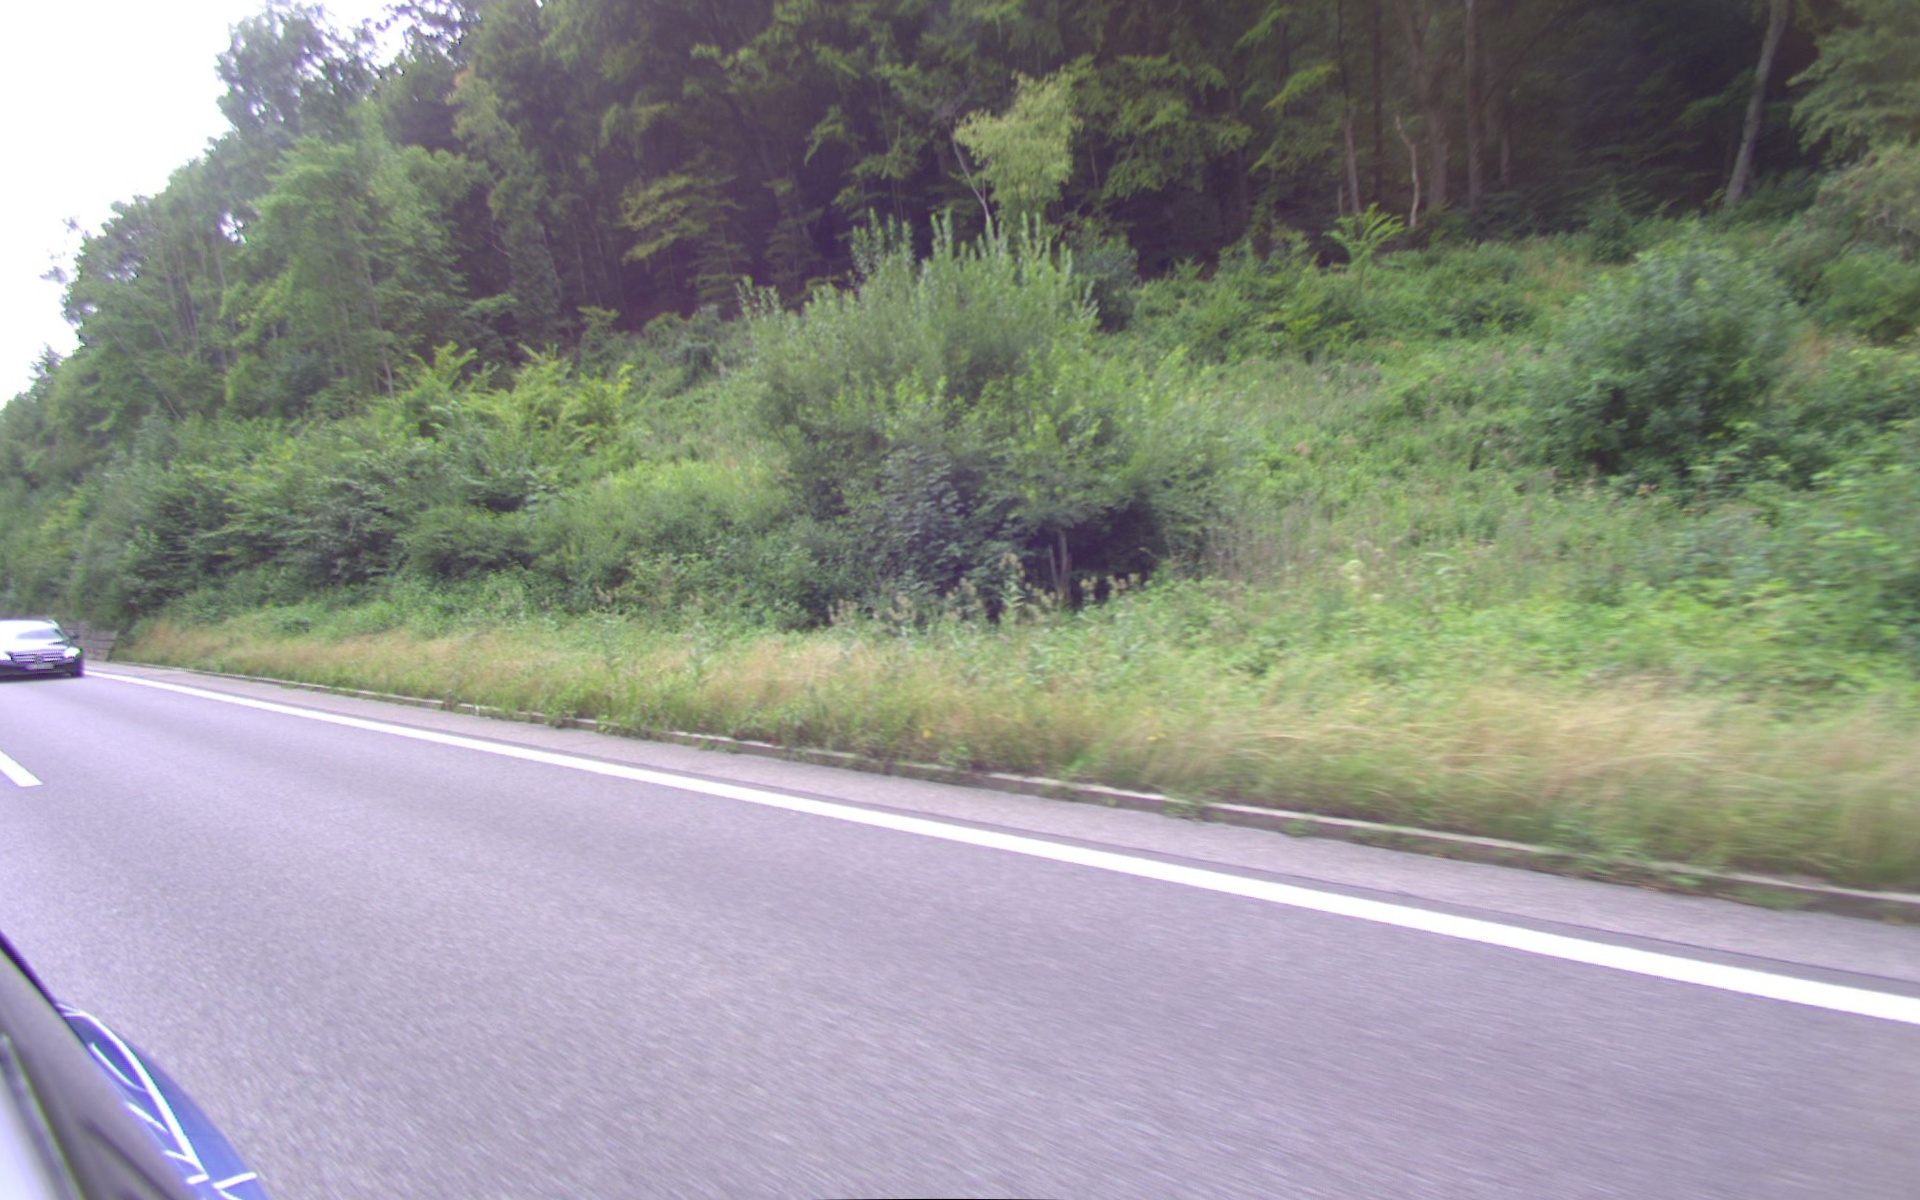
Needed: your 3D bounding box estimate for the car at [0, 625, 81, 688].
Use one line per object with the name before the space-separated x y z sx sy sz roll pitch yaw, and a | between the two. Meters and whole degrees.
car | -23.899 1.422 25.787 5.122 1.475 1.741 -3 -3 43
